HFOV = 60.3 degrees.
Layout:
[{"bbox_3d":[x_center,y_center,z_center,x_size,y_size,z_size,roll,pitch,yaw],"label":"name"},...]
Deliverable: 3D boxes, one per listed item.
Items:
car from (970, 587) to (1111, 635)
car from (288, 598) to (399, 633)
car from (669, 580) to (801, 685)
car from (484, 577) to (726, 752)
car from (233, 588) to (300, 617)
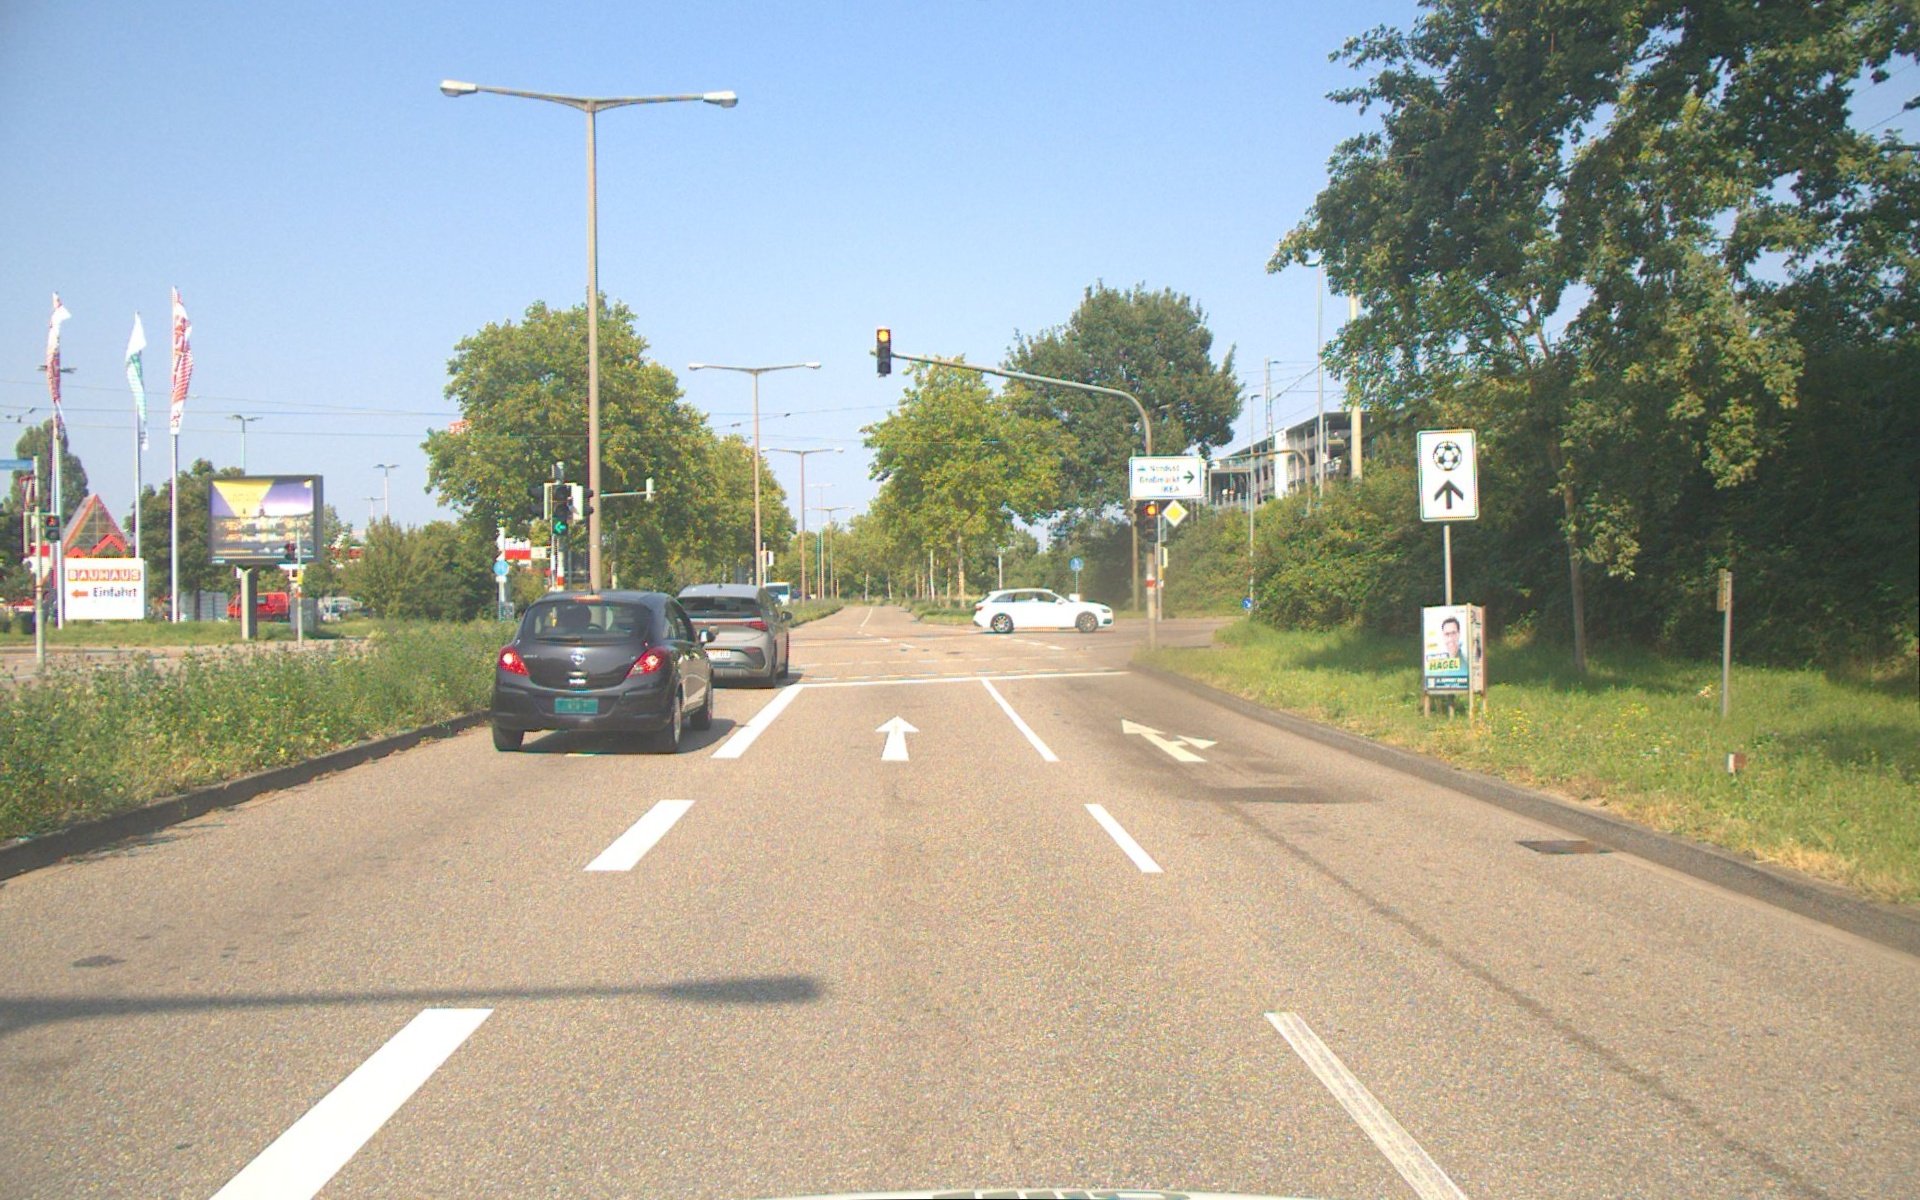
[{"bbox_3d":[2.676,0.356,54.288,4.510,1.512,1.699,1,0,6],"label":"car"},{"bbox_3d":[-21.727,0.539,58.323,3.303,1.156,1.494,-1,0,6],"label":"car"},{"bbox_3d":[-3.452,0.455,25.987,1.658,1.512,3.998,0,0,-2],"label":"car"},{"bbox_3d":[-3.376,0.556,16.410,1.658,1.512,3.998,1,0,-2],"label":"car"},{"bbox_3d":[-50.902,0.166,121.435,4.241,2.049,1.975,0,0,-35],"label":"car"}]
